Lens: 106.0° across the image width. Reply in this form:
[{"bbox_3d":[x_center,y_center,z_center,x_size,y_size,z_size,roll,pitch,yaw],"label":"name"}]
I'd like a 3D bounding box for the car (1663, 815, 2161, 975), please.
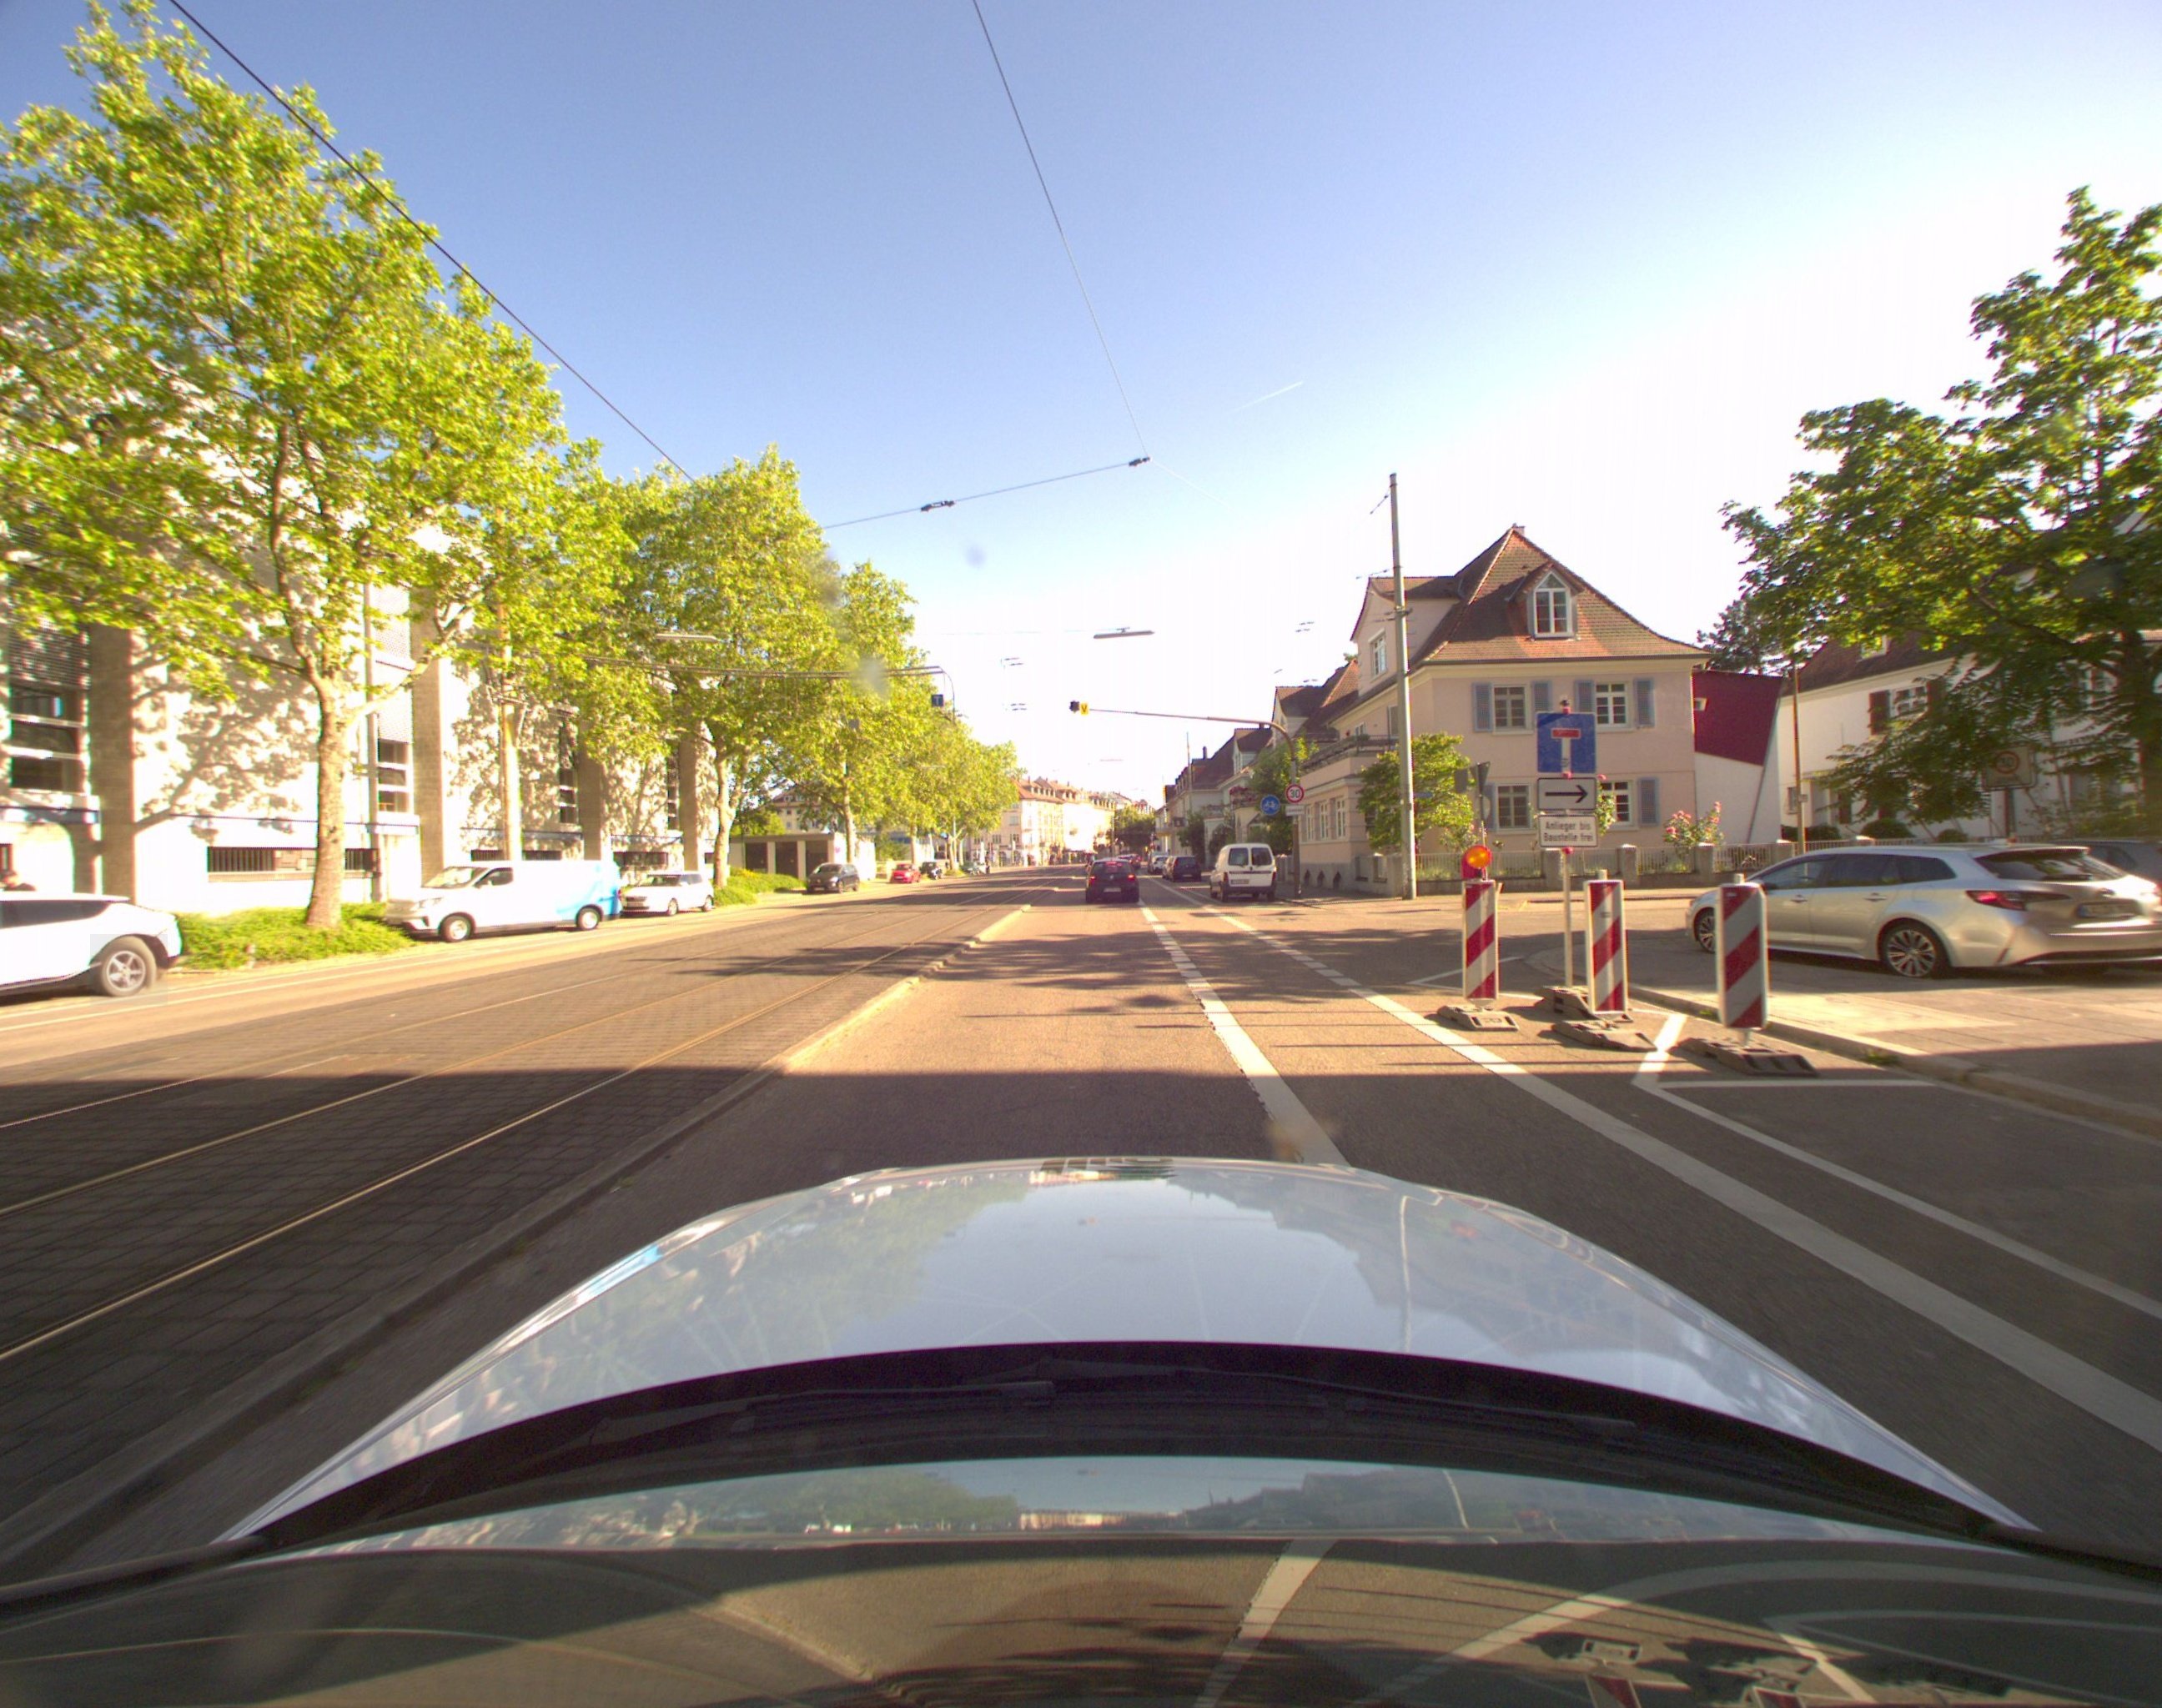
[{"bbox_3d":[9.407,0.466,9.676,1.697,1.389,4.514,-3,-3,0],"label":"car"}]

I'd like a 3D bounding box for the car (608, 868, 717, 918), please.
[{"bbox_3d":[-14.374,1.293,28.233,1.568,1.507,4.092,0,0,2],"label":"car"}]

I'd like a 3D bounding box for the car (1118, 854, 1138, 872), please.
[{"bbox_3d":[4.177,0.781,72.967,1.630,1.472,3.731,-2,0,2],"label":"car"}]

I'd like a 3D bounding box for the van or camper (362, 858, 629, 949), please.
[{"bbox_3d":[-14.584,1.093,20.749,2.042,1.949,5.217,0,0,22],"label":"van or camper"}]

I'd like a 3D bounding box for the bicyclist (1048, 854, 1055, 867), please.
[{"bbox_3d":[-4.431,1.007,122.429,0.873,2.009,0.706,0,0,1],"label":"bicyclist"}]

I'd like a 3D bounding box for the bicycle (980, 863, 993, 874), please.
[{"bbox_3d":[-10.063,1.505,86.787,0.910,1.083,3.204,0,0,2],"label":"bicycle"}]

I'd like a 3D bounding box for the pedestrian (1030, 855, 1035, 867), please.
[{"bbox_3d":[-10.167,1.450,169.360,0.952,2.659,1.100,0,0,3],"label":"pedestrian"}]

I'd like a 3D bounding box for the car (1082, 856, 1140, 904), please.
[{"bbox_3d":[0.928,0.810,27.040,1.743,1.375,4.000,-2,0,0],"label":"car"}]

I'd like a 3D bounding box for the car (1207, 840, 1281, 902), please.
[{"bbox_3d":[5.152,0.497,26.108,1.752,1.838,3.549,0,0,2],"label":"car"}]

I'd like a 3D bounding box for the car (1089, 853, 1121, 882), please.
[{"bbox_3d":[1.403,0.751,46.762,1.742,1.537,3.894,-2,0,2],"label":"car"}]

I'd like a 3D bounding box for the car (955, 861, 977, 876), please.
[{"bbox_3d":[-12.752,1.586,90.366,1.877,1.669,3.805,0,0,1],"label":"car"}]

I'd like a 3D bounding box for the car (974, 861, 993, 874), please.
[{"bbox_3d":[-11.594,1.592,96.704,1.630,1.472,3.731,-2,0,2],"label":"car"}]

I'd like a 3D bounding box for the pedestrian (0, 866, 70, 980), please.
[{"bbox_3d":[-17.420,1.111,13.377,0.794,1.820,0.670,0,0,1],"label":"pedestrian"}]

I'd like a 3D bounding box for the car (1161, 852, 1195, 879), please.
[{"bbox_3d":[5.962,0.661,50.269,1.742,1.537,3.957,-2,0,2],"label":"car"}]

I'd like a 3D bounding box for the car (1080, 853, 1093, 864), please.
[{"bbox_3d":[0.801,0.572,108.007,1.630,1.472,3.731,0,0,2],"label":"car"}]

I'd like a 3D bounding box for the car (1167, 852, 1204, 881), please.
[{"bbox_3d":[5.815,0.656,45.865,1.654,1.526,4.038,-2,0,2],"label":"car"}]

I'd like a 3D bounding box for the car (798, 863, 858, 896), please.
[{"bbox_3d":[-13.884,1.367,44.891,1.881,1.666,4.002,-2,0,2],"label":"car"}]

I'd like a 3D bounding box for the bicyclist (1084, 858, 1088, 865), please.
[{"bbox_3d":[1.028,1.492,164.974,0.680,1.336,0.922,0,0,-2],"label":"bicyclist"}]

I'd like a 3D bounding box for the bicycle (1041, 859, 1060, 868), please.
[{"bbox_3d":[-4.548,1.397,122.461,2.732,1.262,0.706,0,0,1],"label":"bicycle"}]

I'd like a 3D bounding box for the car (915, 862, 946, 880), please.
[{"bbox_3d":[-13.034,1.457,70.740,1.786,1.465,3.837,1,0,2],"label":"car"}]

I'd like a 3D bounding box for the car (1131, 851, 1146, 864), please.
[{"bbox_3d":[6.999,0.436,98.896,1.630,1.472,3.731,-2,0,2],"label":"car"}]

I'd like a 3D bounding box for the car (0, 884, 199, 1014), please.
[{"bbox_3d":[-14.855,1.267,10.422,2.005,1.572,4.693,0,0,0],"label":"car"}]

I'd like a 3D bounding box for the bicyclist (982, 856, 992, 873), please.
[{"bbox_3d":[-10.063,1.130,86.859,0.910,1.833,0.960,0,0,1],"label":"bicyclist"}]

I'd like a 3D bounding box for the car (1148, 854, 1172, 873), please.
[{"bbox_3d":[6.133,0.724,63.625,1.574,1.375,4.002,-2,0,2],"label":"car"}]

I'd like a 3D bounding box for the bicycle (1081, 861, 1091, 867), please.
[{"bbox_3d":[0.963,2.012,164.974,2.081,1.141,0.922,0,0,-2],"label":"bicycle"}]

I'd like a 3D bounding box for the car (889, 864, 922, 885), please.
[{"bbox_3d":[-13.219,1.519,61.568,1.564,1.533,3.573,-2,-1,2],"label":"car"}]

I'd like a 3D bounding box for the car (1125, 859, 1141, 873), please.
[{"bbox_3d":[5.840,1.282,91.222,1.630,1.472,3.731,-2,0,2],"label":"car"}]

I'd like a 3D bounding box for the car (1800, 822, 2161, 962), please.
[{"bbox_3d":[12.158,0.445,10.467,1.768,1.458,4.514,-3,-3,0],"label":"car"}]

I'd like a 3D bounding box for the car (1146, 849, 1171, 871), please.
[{"bbox_3d":[6.510,0.491,68.482,1.810,1.799,4.002,-2,0,2],"label":"car"}]
